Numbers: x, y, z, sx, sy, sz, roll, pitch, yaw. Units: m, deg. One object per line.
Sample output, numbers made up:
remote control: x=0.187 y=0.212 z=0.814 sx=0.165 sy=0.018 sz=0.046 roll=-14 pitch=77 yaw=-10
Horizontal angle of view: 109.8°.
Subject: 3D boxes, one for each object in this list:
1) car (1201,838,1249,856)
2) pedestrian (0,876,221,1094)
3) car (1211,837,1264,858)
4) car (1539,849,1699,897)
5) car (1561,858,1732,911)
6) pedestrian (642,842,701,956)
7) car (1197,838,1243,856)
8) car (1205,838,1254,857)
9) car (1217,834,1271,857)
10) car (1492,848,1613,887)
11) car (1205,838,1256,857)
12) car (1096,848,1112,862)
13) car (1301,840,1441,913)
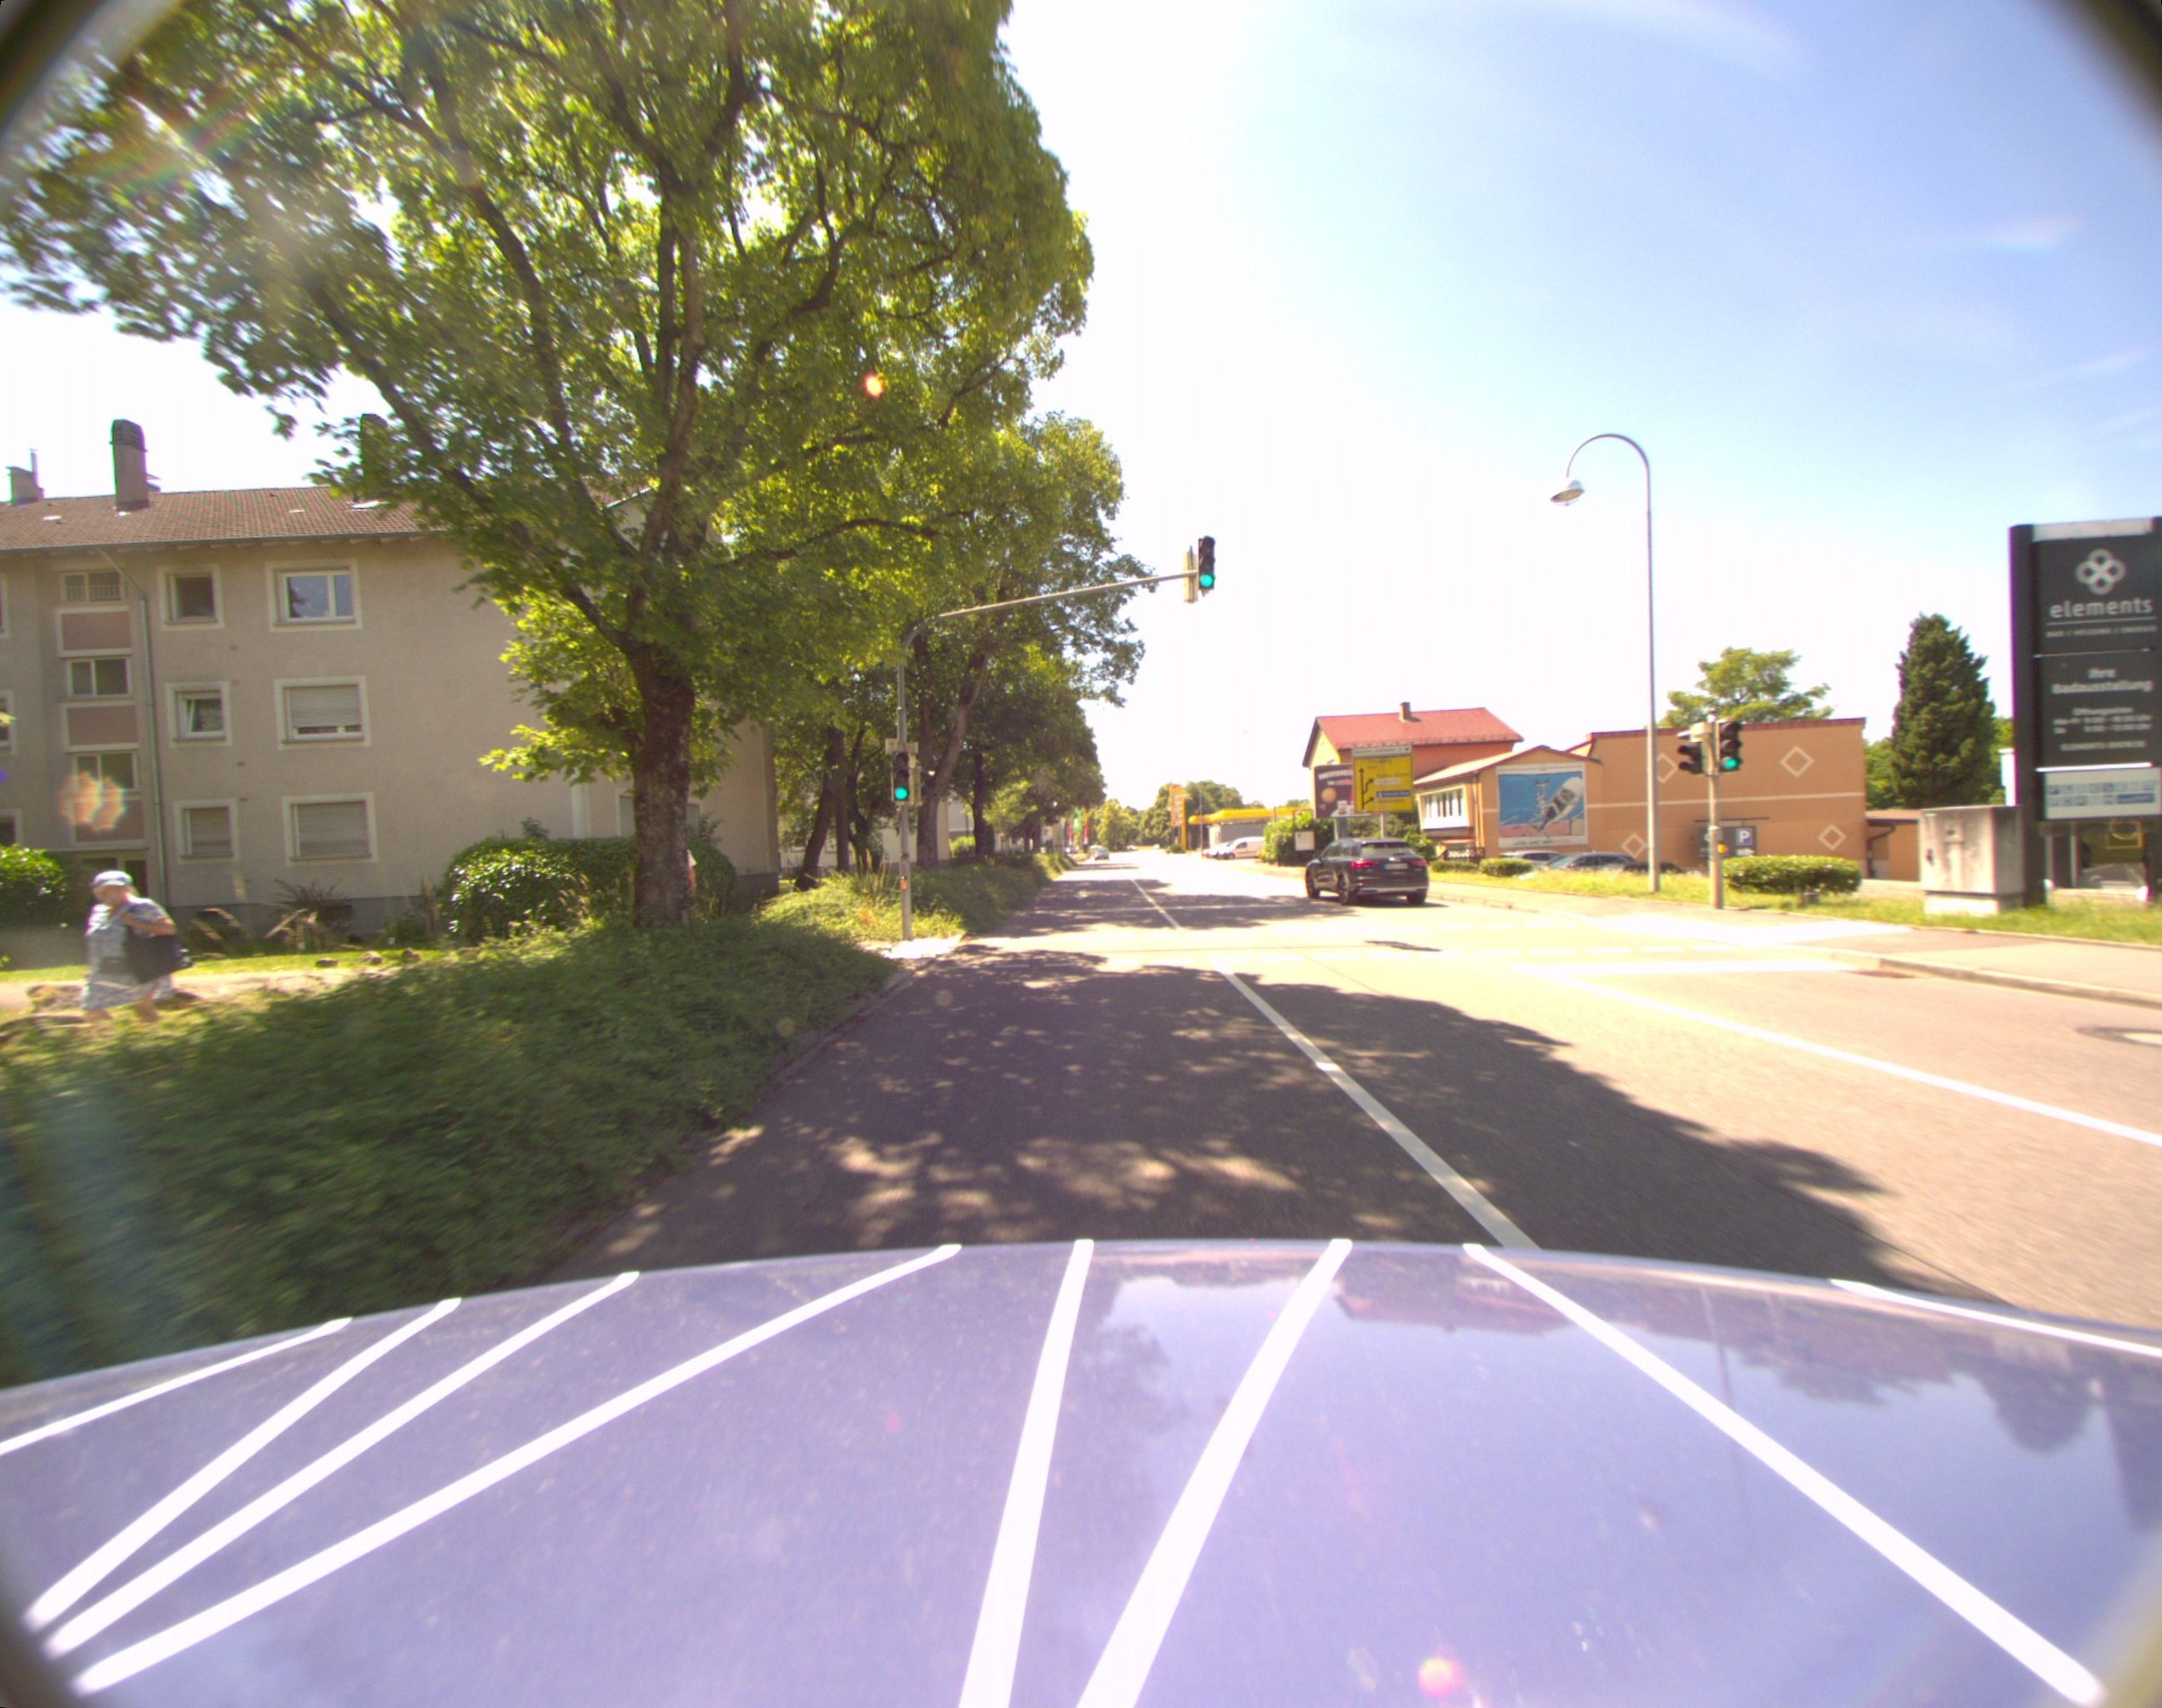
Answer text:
car: x=14.678 y=-0.696 z=77.482 sx=4.401 sy=1.750 sz=1.874 roll=-2 pitch=1 yaw=-3
pedestrian: x=-8.021 y=1.025 z=6.303 sx=0.720 sy=1.624 sz=0.851 roll=-2 pitch=1 yaw=-6
car: x=14.075 y=-0.620 z=68.474 sx=4.246 sy=1.750 sz=1.874 roll=-2 pitch=1 yaw=-3
car: x=19.853 y=0.695 z=28.205 sx=4.523 sy=1.633 sz=1.772 roll=-1 pitch=1 yaw=8
car: x=18.224 y=0.973 z=24.656 sx=4.094 sy=1.524 sz=1.772 roll=-1 pitch=1 yaw=8
pedestrian: x=-6.966 y=0.734 z=12.967 sx=0.674 sy=1.863 sz=0.901 roll=-2 pitch=1 yaw=-18
car: x=14.575 y=-0.706 z=79.889 sx=4.401 sy=1.750 sz=1.874 roll=-2 pitch=1 yaw=-3
car: x=14.633 y=-0.656 z=75.194 sx=4.401 sy=1.750 sz=1.874 roll=-2 pitch=1 yaw=-3
car: x=14.173 y=-0.710 z=66.280 sx=4.191 sy=1.858 sz=1.874 roll=-2 pitch=1 yaw=-3
car: x=20.935 y=0.601 z=33.921 sx=4.223 sy=1.599 sz=1.772 roll=-1 pitch=1 yaw=9
car: x=14.338 y=-0.638 z=72.934 sx=4.401 sy=1.750 sz=1.874 roll=-2 pitch=1 yaw=-3
car: x=2.615 y=0.096 z=85.534 sx=1.771 sy=1.521 sz=4.130 roll=-2 pitch=1 yaw=2
car: x=6.939 y=0.469 z=18.698 sx=1.931 sy=1.546 sz=4.303 roll=-1 pitch=1 yaw=2
